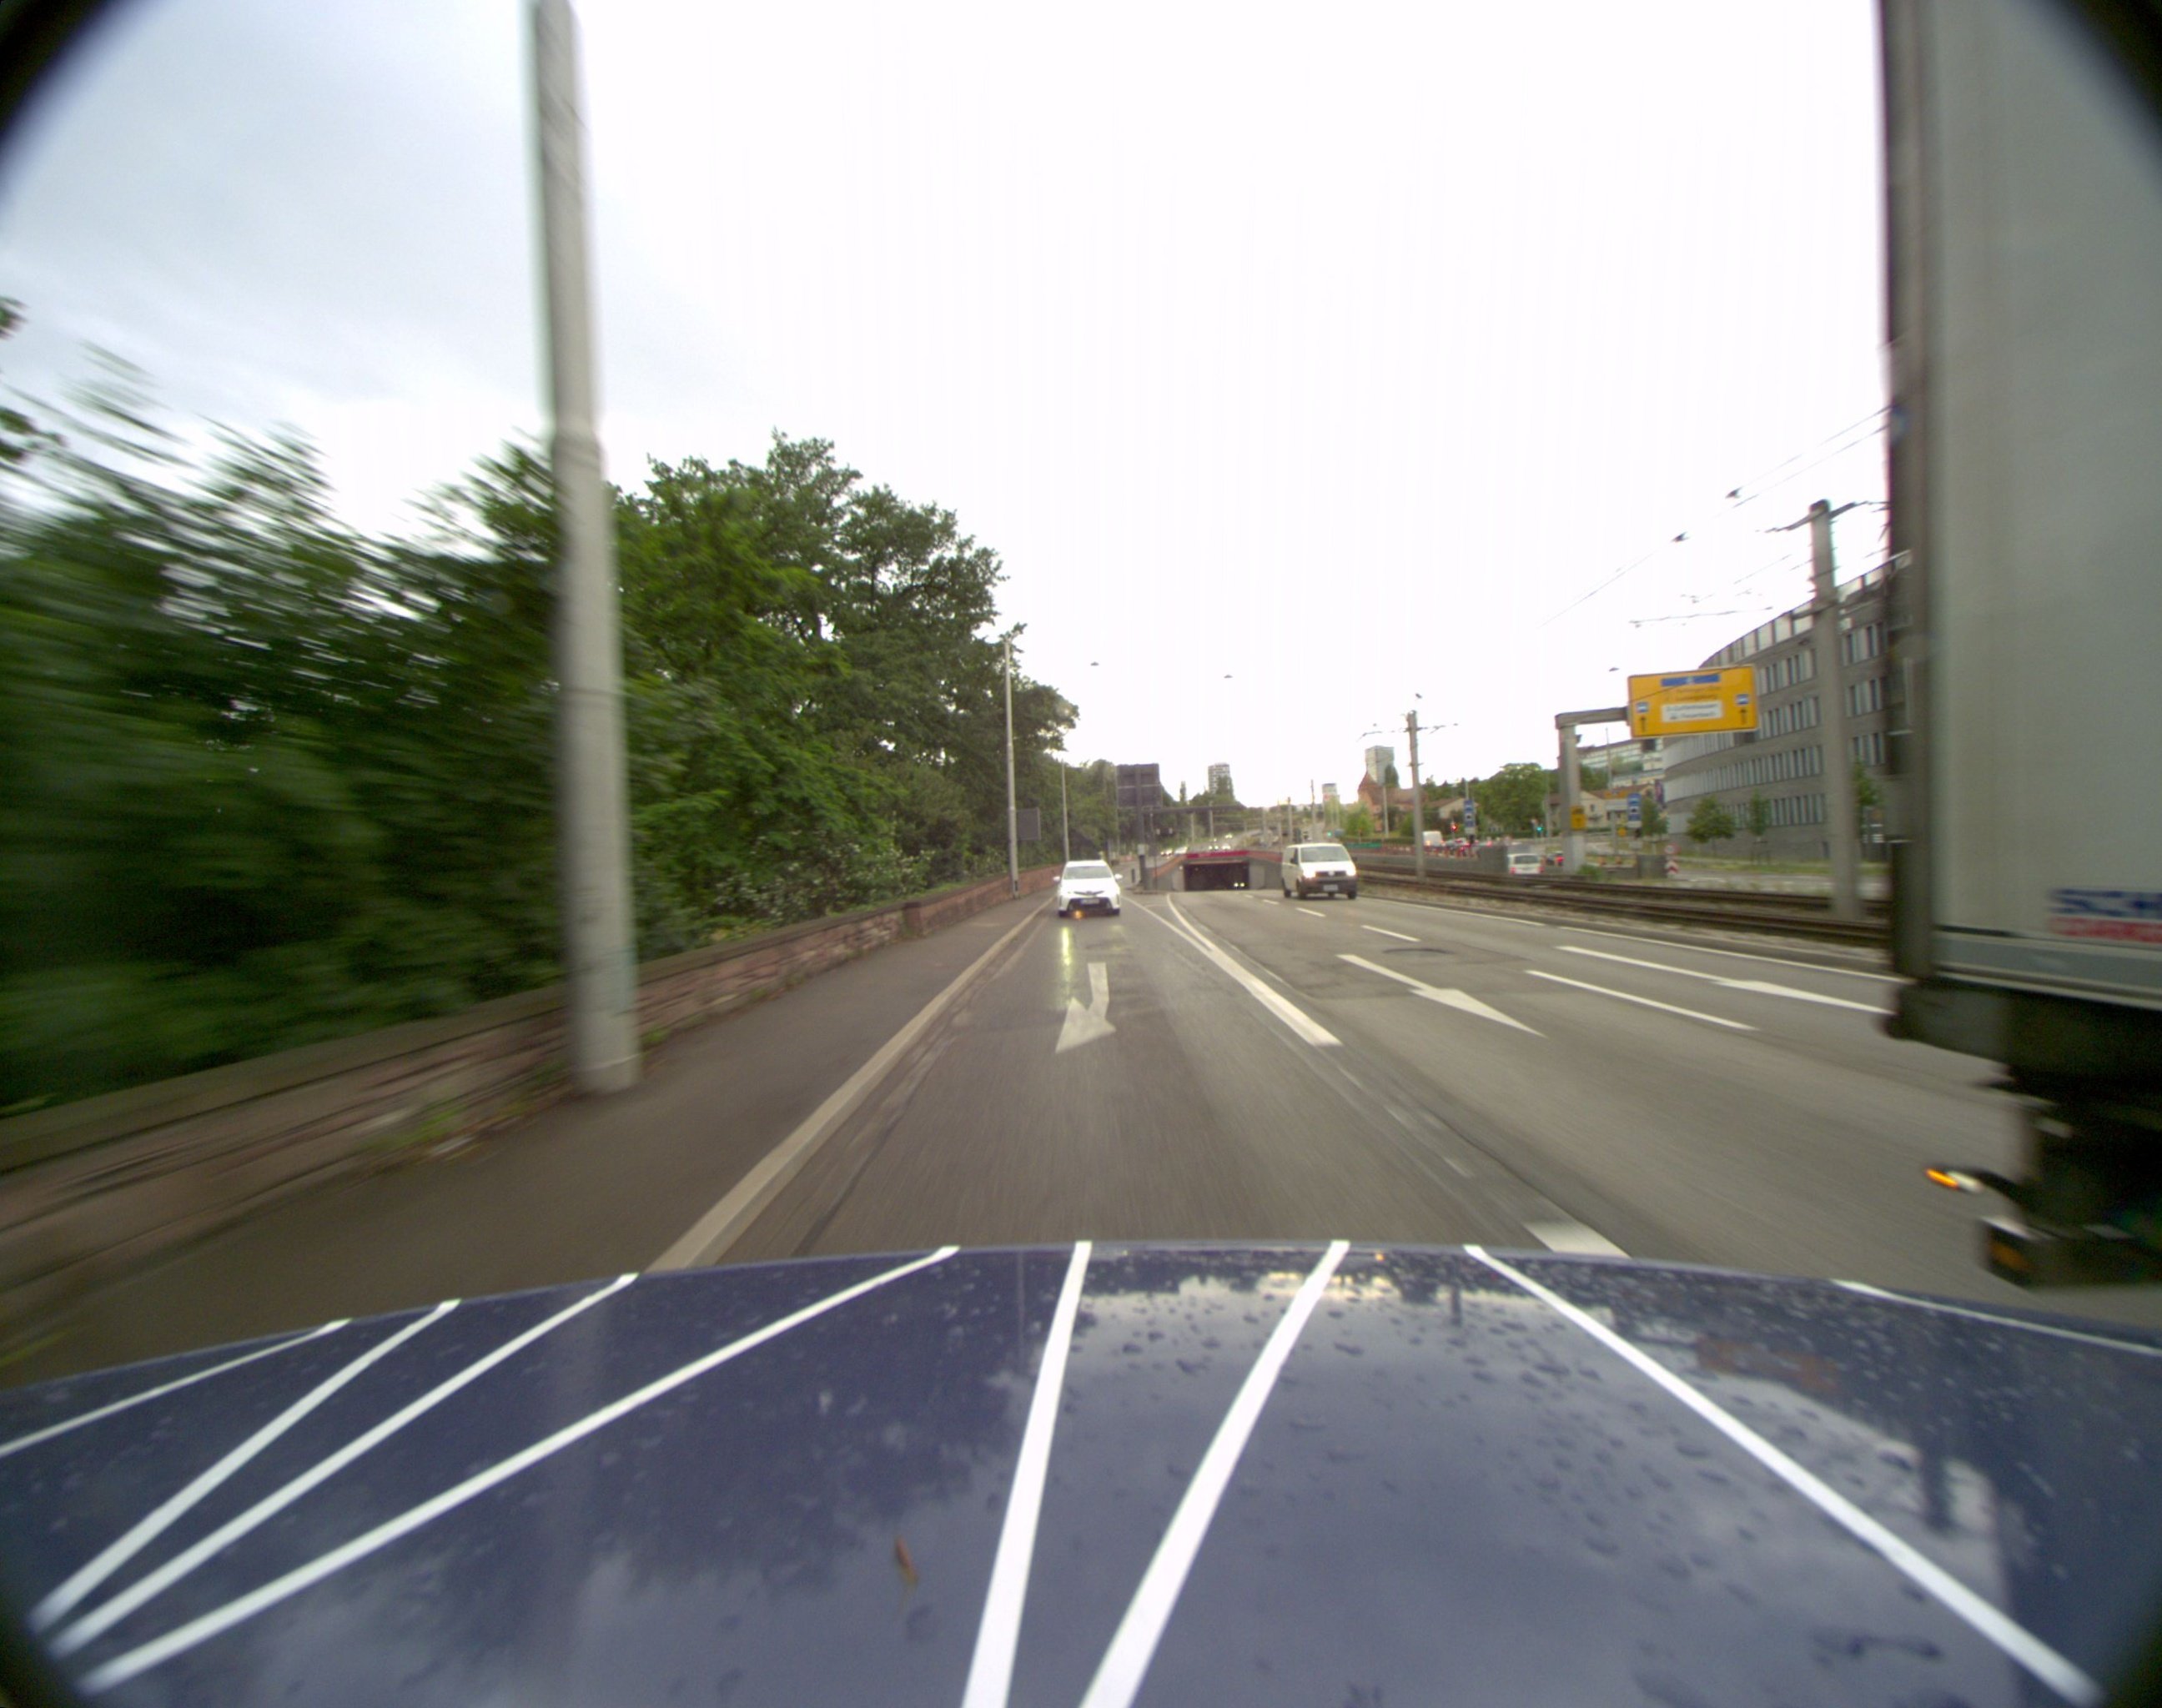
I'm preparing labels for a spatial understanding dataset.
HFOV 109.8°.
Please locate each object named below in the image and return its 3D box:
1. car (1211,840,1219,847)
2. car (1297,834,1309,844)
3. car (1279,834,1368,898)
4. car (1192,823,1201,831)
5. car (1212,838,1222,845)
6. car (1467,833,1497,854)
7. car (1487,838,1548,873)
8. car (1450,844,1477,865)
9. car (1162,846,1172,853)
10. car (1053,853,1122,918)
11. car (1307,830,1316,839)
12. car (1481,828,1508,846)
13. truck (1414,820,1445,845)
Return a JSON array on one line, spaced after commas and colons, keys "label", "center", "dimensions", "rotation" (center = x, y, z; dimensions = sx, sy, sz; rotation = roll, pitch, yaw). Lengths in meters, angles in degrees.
[{"label": "car", "center": [34.127, -2.642, 193.495], "dimensions": [1.800, 1.463, 4.002], "rotation": [-2, 2, 11]}, {"label": "car", "center": [51.303, -3.471, 175.759], "dimensions": [1.995, 2.003, 4.004], "rotation": [-1, 4, 25]}, {"label": "car", "center": [8.483, 0.418, 27.012], "dimensions": [1.998, 2.015, 4.688], "rotation": [-2, -1, 5]}, {"label": "car", "center": [24.855, -5.804, 163.228], "dimensions": [1.800, 1.502, 4.004], "rotation": [-2, -1, 10]}, {"label": "car", "center": [34.560, -3.270, 192.606], "dimensions": [1.736, 1.579, 4.003], "rotation": [-2, 3, 19]}, {"label": "car", "center": [43.940, -1.206, 83.258], "dimensions": [1.996, 2.003, 4.205], "rotation": [-2, 4, 15]}, {"label": "car", "center": [29.004, 0.042, 50.682], "dimensions": [1.997, 2.106, 5.114], "rotation": [-3, 1, 12]}, {"label": "car", "center": [44.222, 0.010, 87.891], "dimensions": [1.996, 2.003, 4.205], "rotation": [-2, 4, 15]}, {"label": "car", "center": [19.766, -0.991, 174.257], "dimensions": [1.887, 1.462, 4.013], "rotation": [-2, -1, 12]}, {"label": "car", "center": [0.143, 0.910, 23.770], "dimensions": [1.856, 1.741, 3.999], "rotation": [-4, 0, -2]}, {"label": "car", "center": [57.540, -4.827, 189.462], "dimensions": [1.996, 2.003, 4.002], "rotation": [-2, 4, 17]}, {"label": "car", "center": [52.446, -2.233, 96.425], "dimensions": [1.996, 2.003, 4.205], "rotation": [-2, 4, 15]}, {"label": "truck", "center": [47.312, -2.945, 103.325], "dimensions": [1.998, 3.169, 5.284], "rotation": [-3, 3, 4]}]
